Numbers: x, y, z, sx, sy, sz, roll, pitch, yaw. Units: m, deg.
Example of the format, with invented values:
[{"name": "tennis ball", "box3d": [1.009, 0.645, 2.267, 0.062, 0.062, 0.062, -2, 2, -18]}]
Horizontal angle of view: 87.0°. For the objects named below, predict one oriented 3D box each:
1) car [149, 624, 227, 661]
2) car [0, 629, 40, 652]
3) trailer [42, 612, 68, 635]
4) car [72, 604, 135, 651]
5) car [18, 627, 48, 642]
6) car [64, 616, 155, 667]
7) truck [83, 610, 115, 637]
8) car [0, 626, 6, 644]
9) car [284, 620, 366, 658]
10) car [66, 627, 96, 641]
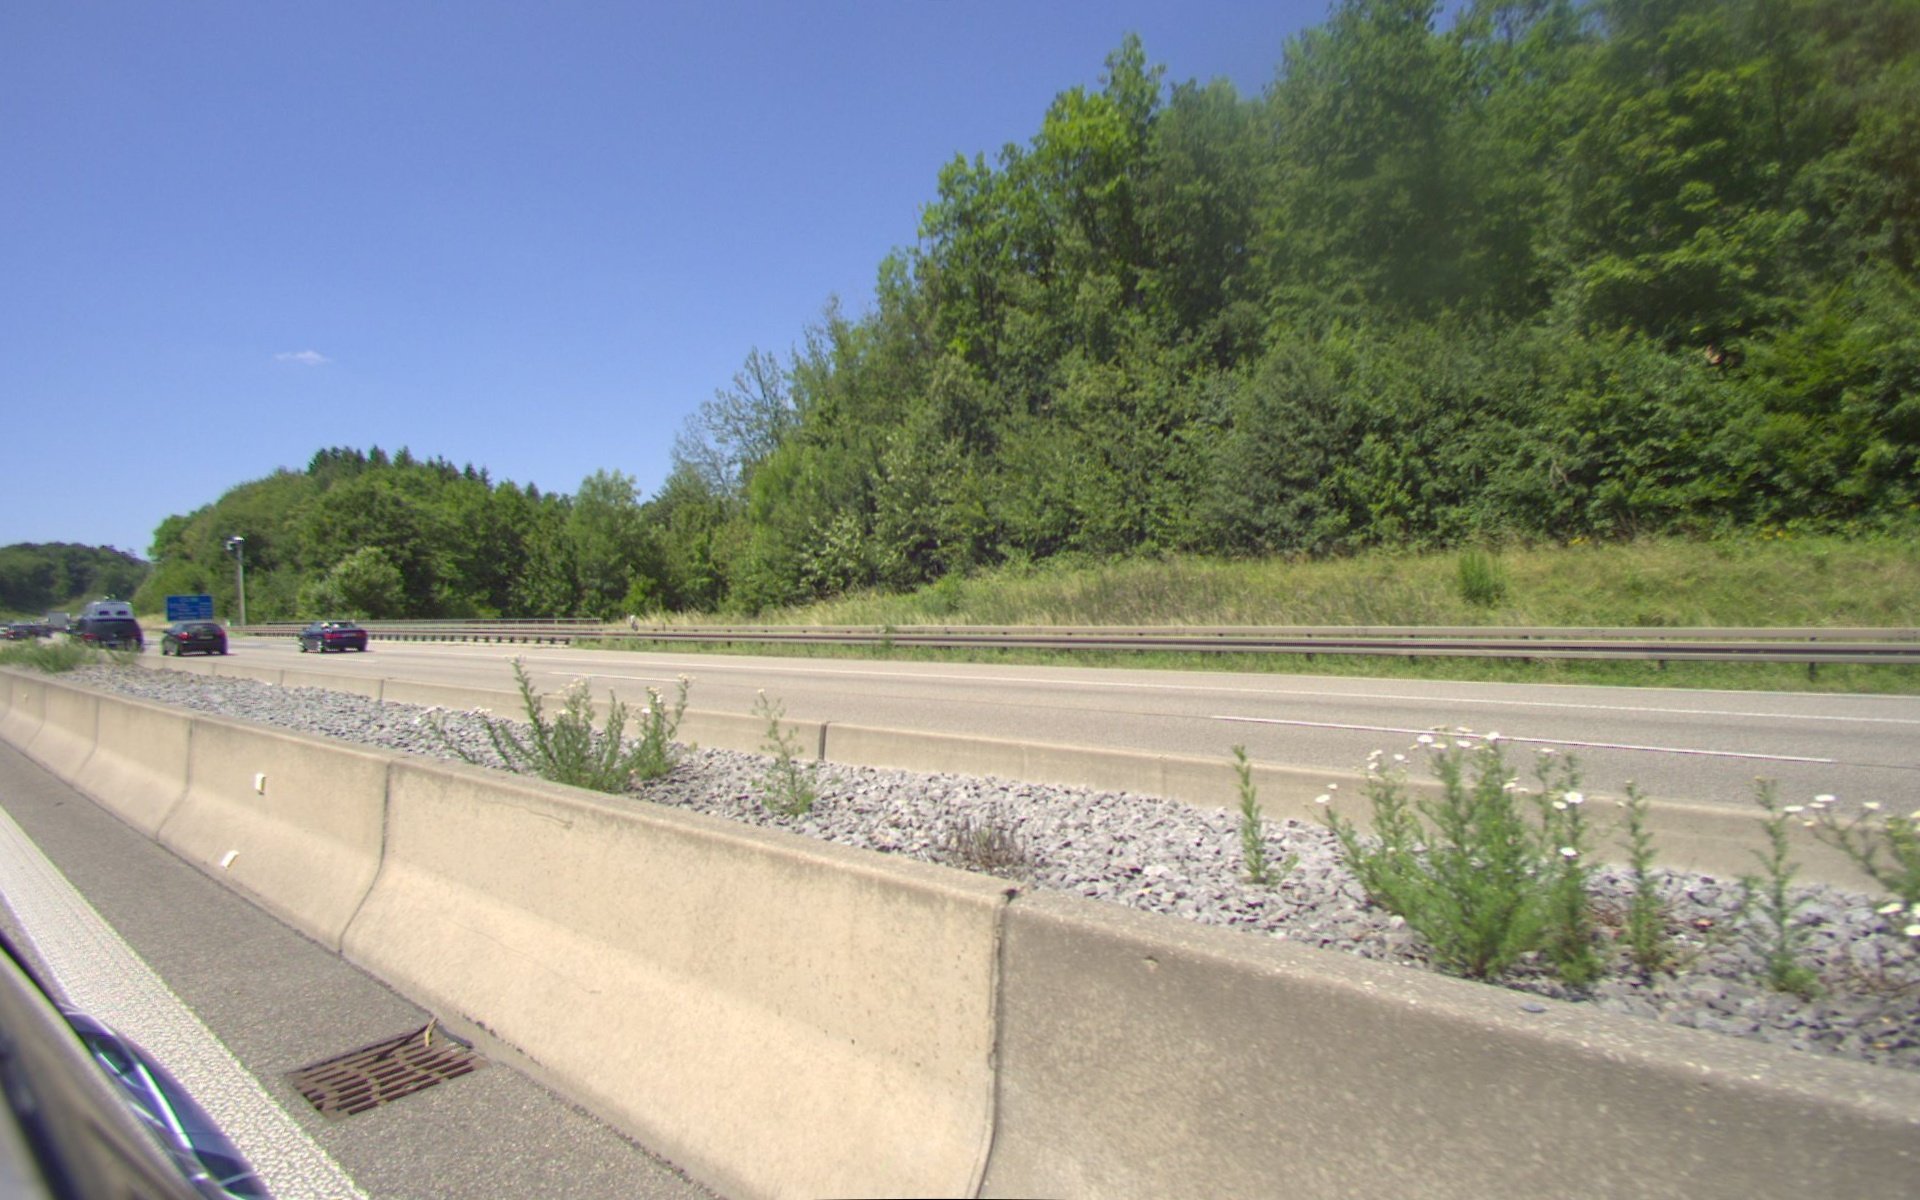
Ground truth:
[{"name": "car", "box3d": [-31.957, 1.744, 41.867, 4.270, 1.412, 1.794, -2, -1, 42]}, {"name": "car", "box3d": [-62.276, 2.635, 66.785, 4.411, 1.421, 1.855, -2, -1, 42]}, {"name": "trailer", "box3d": [-164.487, 4.333, 183.945, 10.171, 3.886, 2.750, -2, -1, 44]}, {"name": "car", "box3d": [-52.770, 1.701, 62.286, 6.061, 2.722, 2.192, -2, -1, 42]}, {"name": "car", "box3d": [-92.148, 3.458, 100.596, 4.233, 1.431, 1.822, -2, -1, 43]}, {"name": "car", "box3d": [-31.561, 1.517, 37.522, 4.355, 1.737, 1.972, -2, -1, 42]}, {"name": "truck", "box3d": [-116.704, 3.141, 137.128, 2.704, 3.501, 7.319, -1, -1, -45]}, {"name": "car", "box3d": [-81.656, 2.954, 85.162, 4.256, 1.538, 1.784, -2, -1, 43]}, {"name": "car", "box3d": [-26.357, 1.597, 41.964, 3.999, 1.464, 1.821, -2, -1, 42]}, {"name": "car", "box3d": [-95.587, 3.708, 110.017, 4.691, 1.492, 1.972, -2, -1, 43]}]
